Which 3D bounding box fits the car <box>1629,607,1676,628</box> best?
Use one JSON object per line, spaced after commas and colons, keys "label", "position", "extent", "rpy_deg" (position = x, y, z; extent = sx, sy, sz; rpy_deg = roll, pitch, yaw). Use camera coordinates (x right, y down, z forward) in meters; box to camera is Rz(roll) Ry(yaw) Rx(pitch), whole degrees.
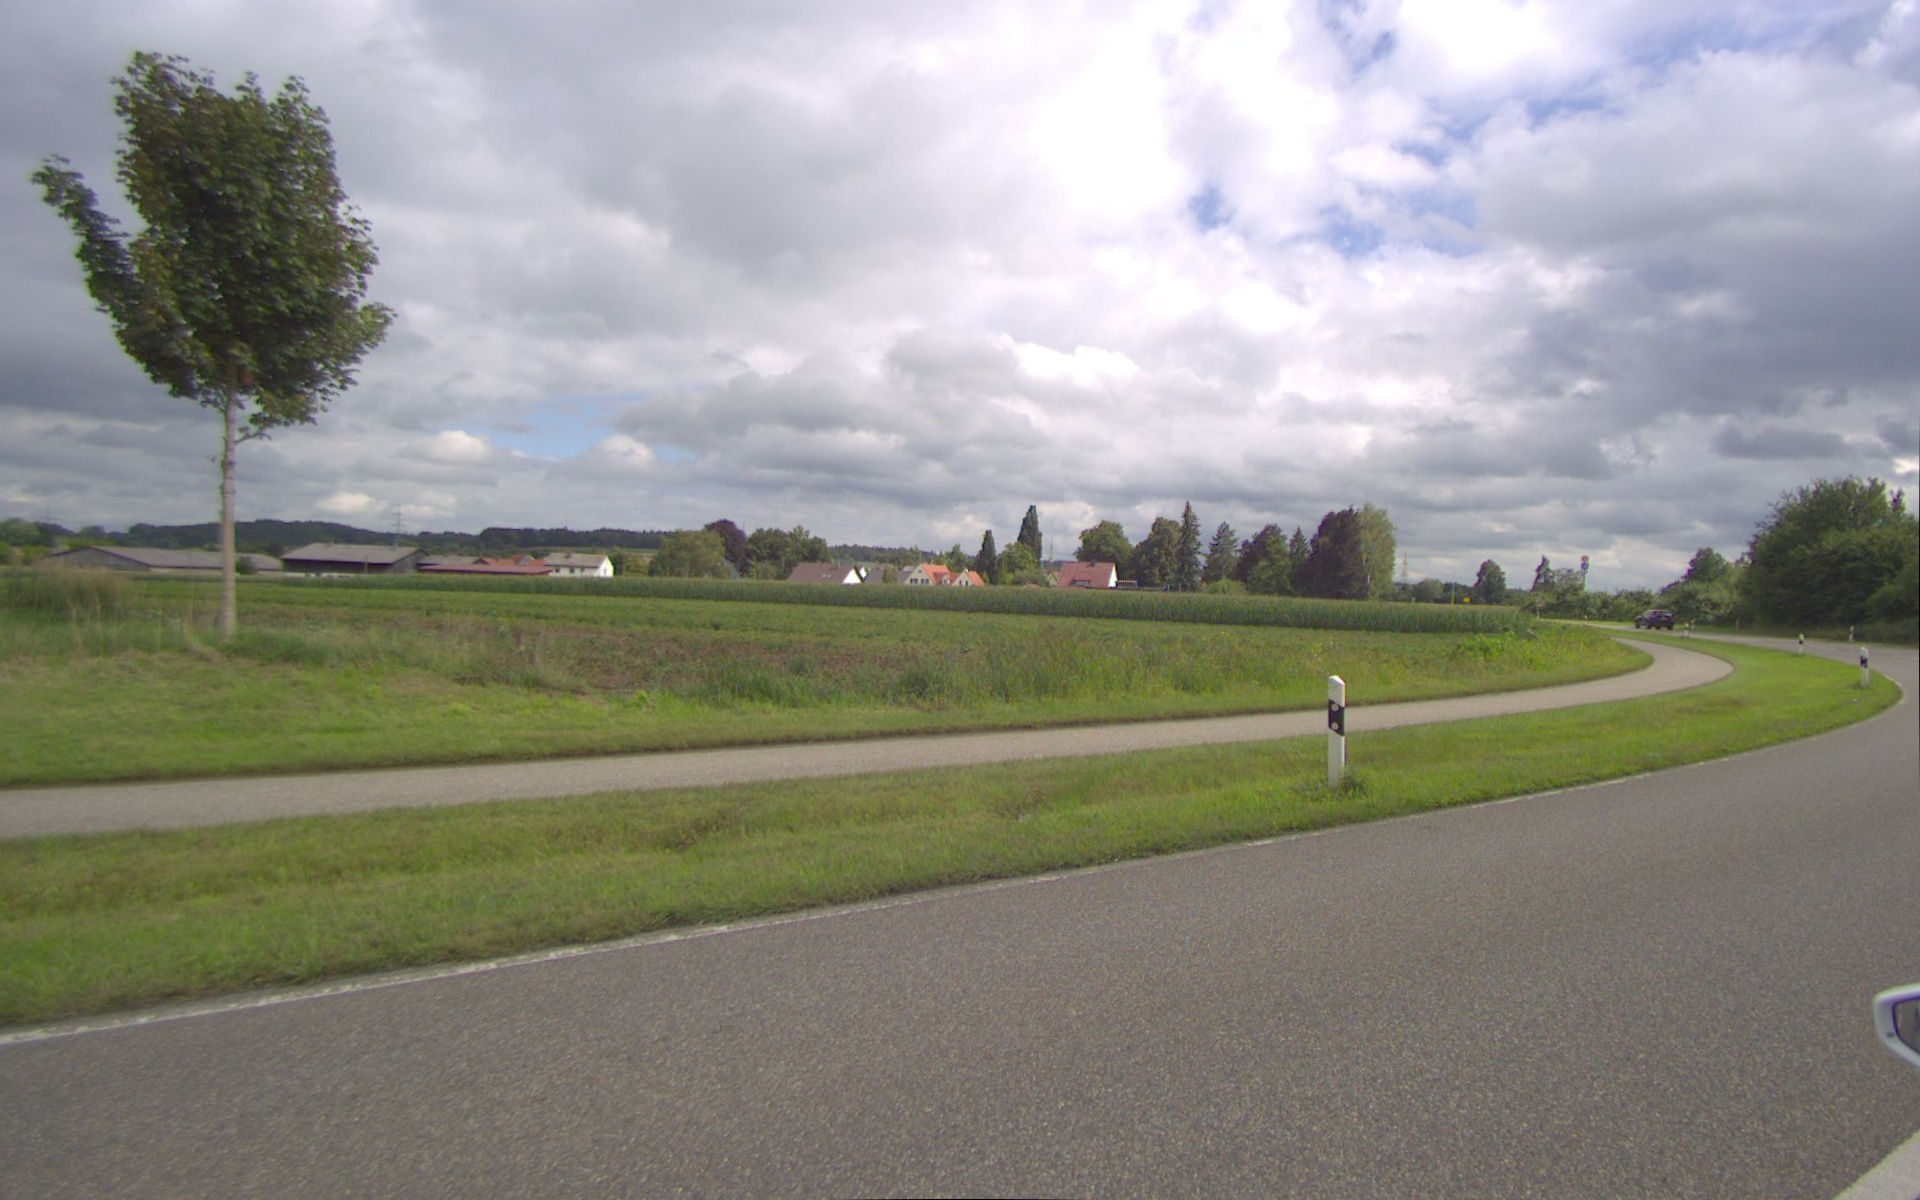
{"label": "car", "position": [59.567, 1.480, 86.470], "extent": [1.874, 1.689, 4.002], "rpy_deg": [2, 0, 13]}
